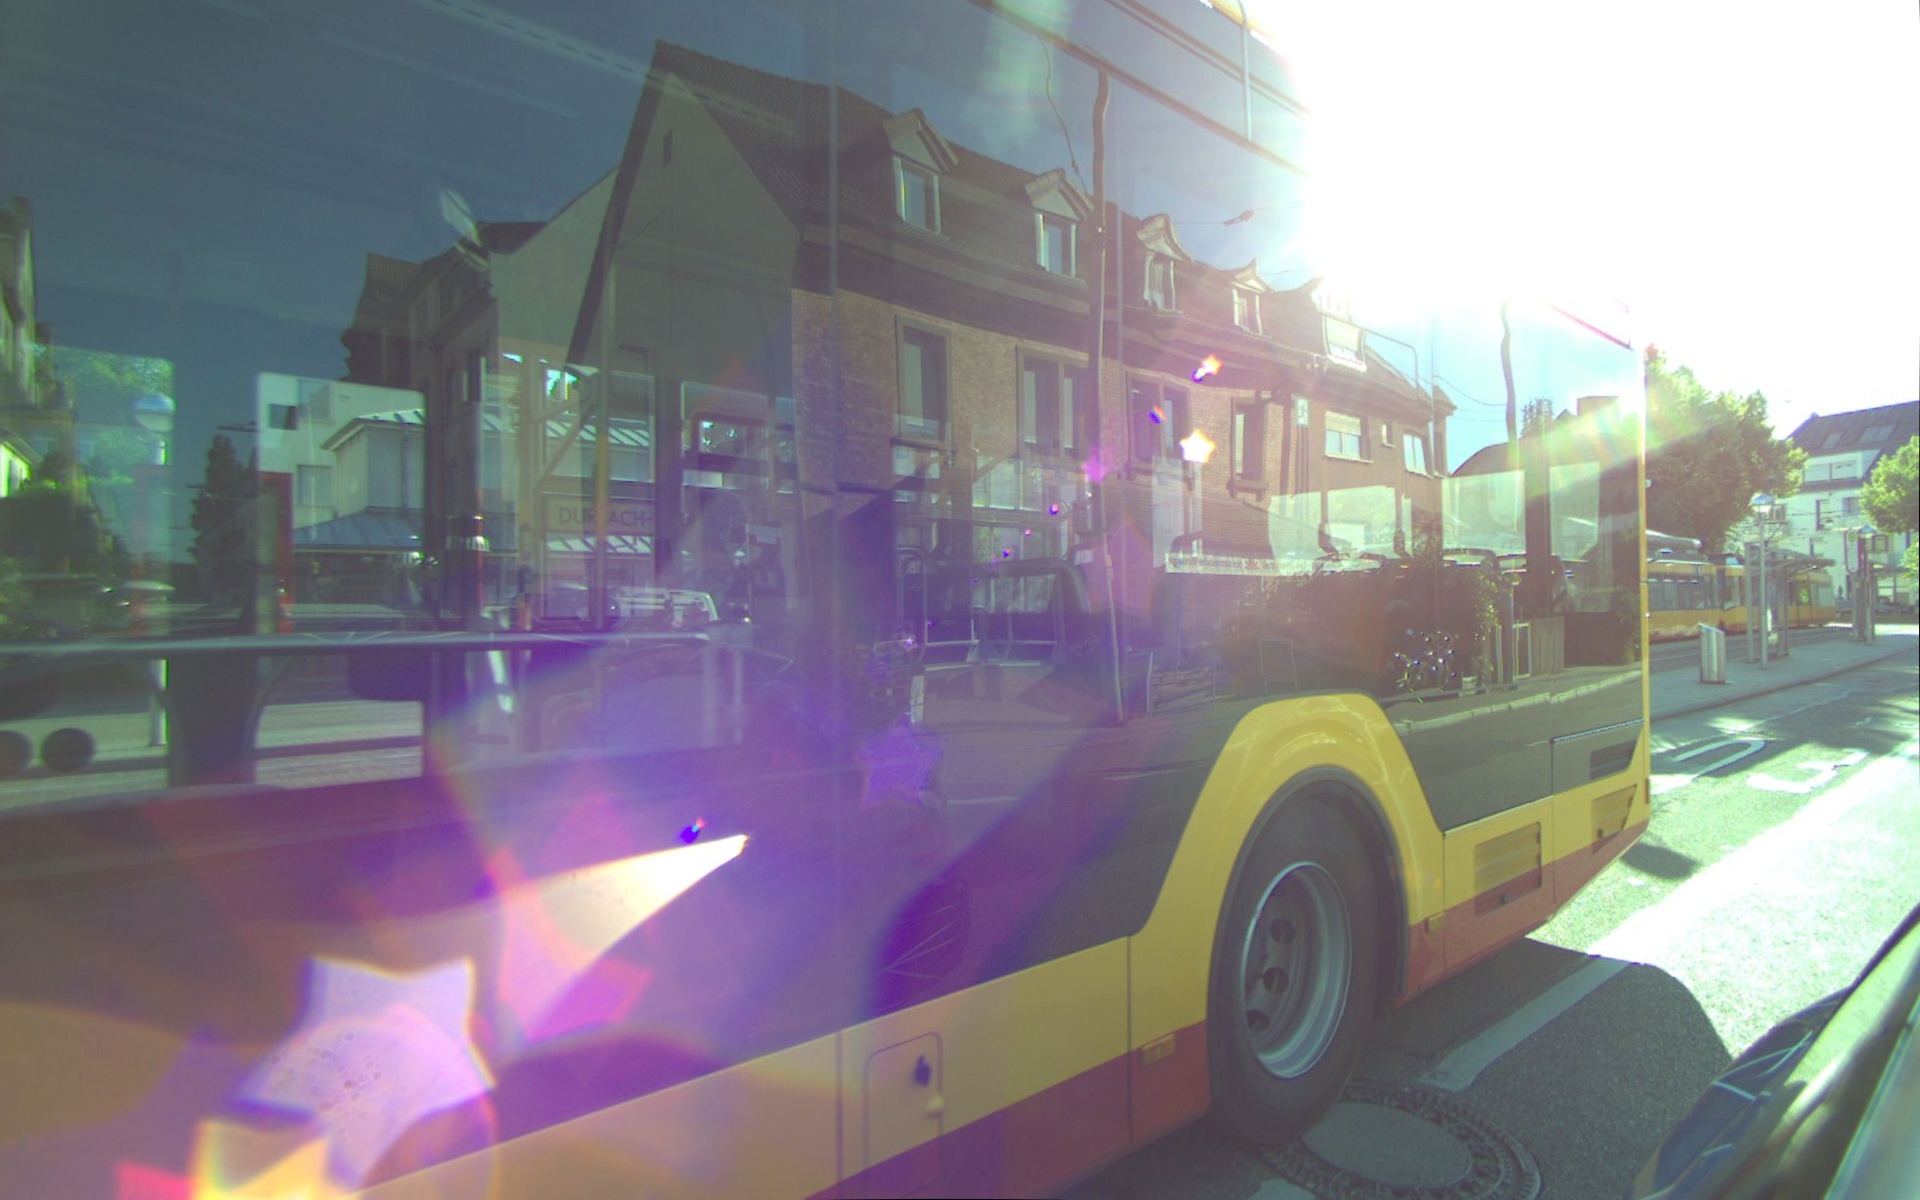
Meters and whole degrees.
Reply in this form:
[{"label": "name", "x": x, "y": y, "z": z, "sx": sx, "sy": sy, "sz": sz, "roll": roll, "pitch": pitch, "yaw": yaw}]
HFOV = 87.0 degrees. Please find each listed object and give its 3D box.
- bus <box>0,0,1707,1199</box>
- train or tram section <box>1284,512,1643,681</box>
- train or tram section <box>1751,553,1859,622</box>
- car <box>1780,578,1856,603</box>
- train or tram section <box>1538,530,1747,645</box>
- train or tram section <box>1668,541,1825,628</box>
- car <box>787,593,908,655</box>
[{"label": "bus", "x": -1.708, "y": -0.263, "z": 2.149, "sx": 11.806, "sy": 3.460, "sz": 2.693, "roll": 0, "pitch": -1, "yaw": -41}, {"label": "train or tram section", "x": 14.452, "y": -0.247, "z": 27.607, "sx": 15.692, "sy": 3.578, "sz": 2.962, "roll": -2, "pitch": 1, "yaw": -41}, {"label": "train or tram section", "x": 47.010, "y": -0.631, "z": 56.097, "sx": 13.235, "sy": 3.465, "sz": 2.961, "roll": 0, "pitch": 0, "yaw": -43}, {"label": "car", "x": 69.137, "y": -0.789, "z": 81.602, "sx": 1.958, "sy": 1.981, "sz": 4.281, "roll": 0, "pitch": 0, "yaw": -21}, {"label": "train or tram section", "x": 25.205, "y": -0.528, "z": 36.891, "sx": 13.229, "sy": 3.578, "sz": 2.962, "roll": -2, "pitch": 1, "yaw": -41}, {"label": "train or tram section", "x": 36.501, "y": -0.635, "z": 46.543, "sx": 15.664, "sy": 3.465, "sz": 2.962, "roll": 0, "pitch": 0, "yaw": -42}, {"label": "car", "x": -3.705, "y": 0.702, "z": 32.638, "sx": 1.962, "sy": 1.791, "sz": 4.452, "roll": 0, "pitch": 1, "yaw": -36}]
